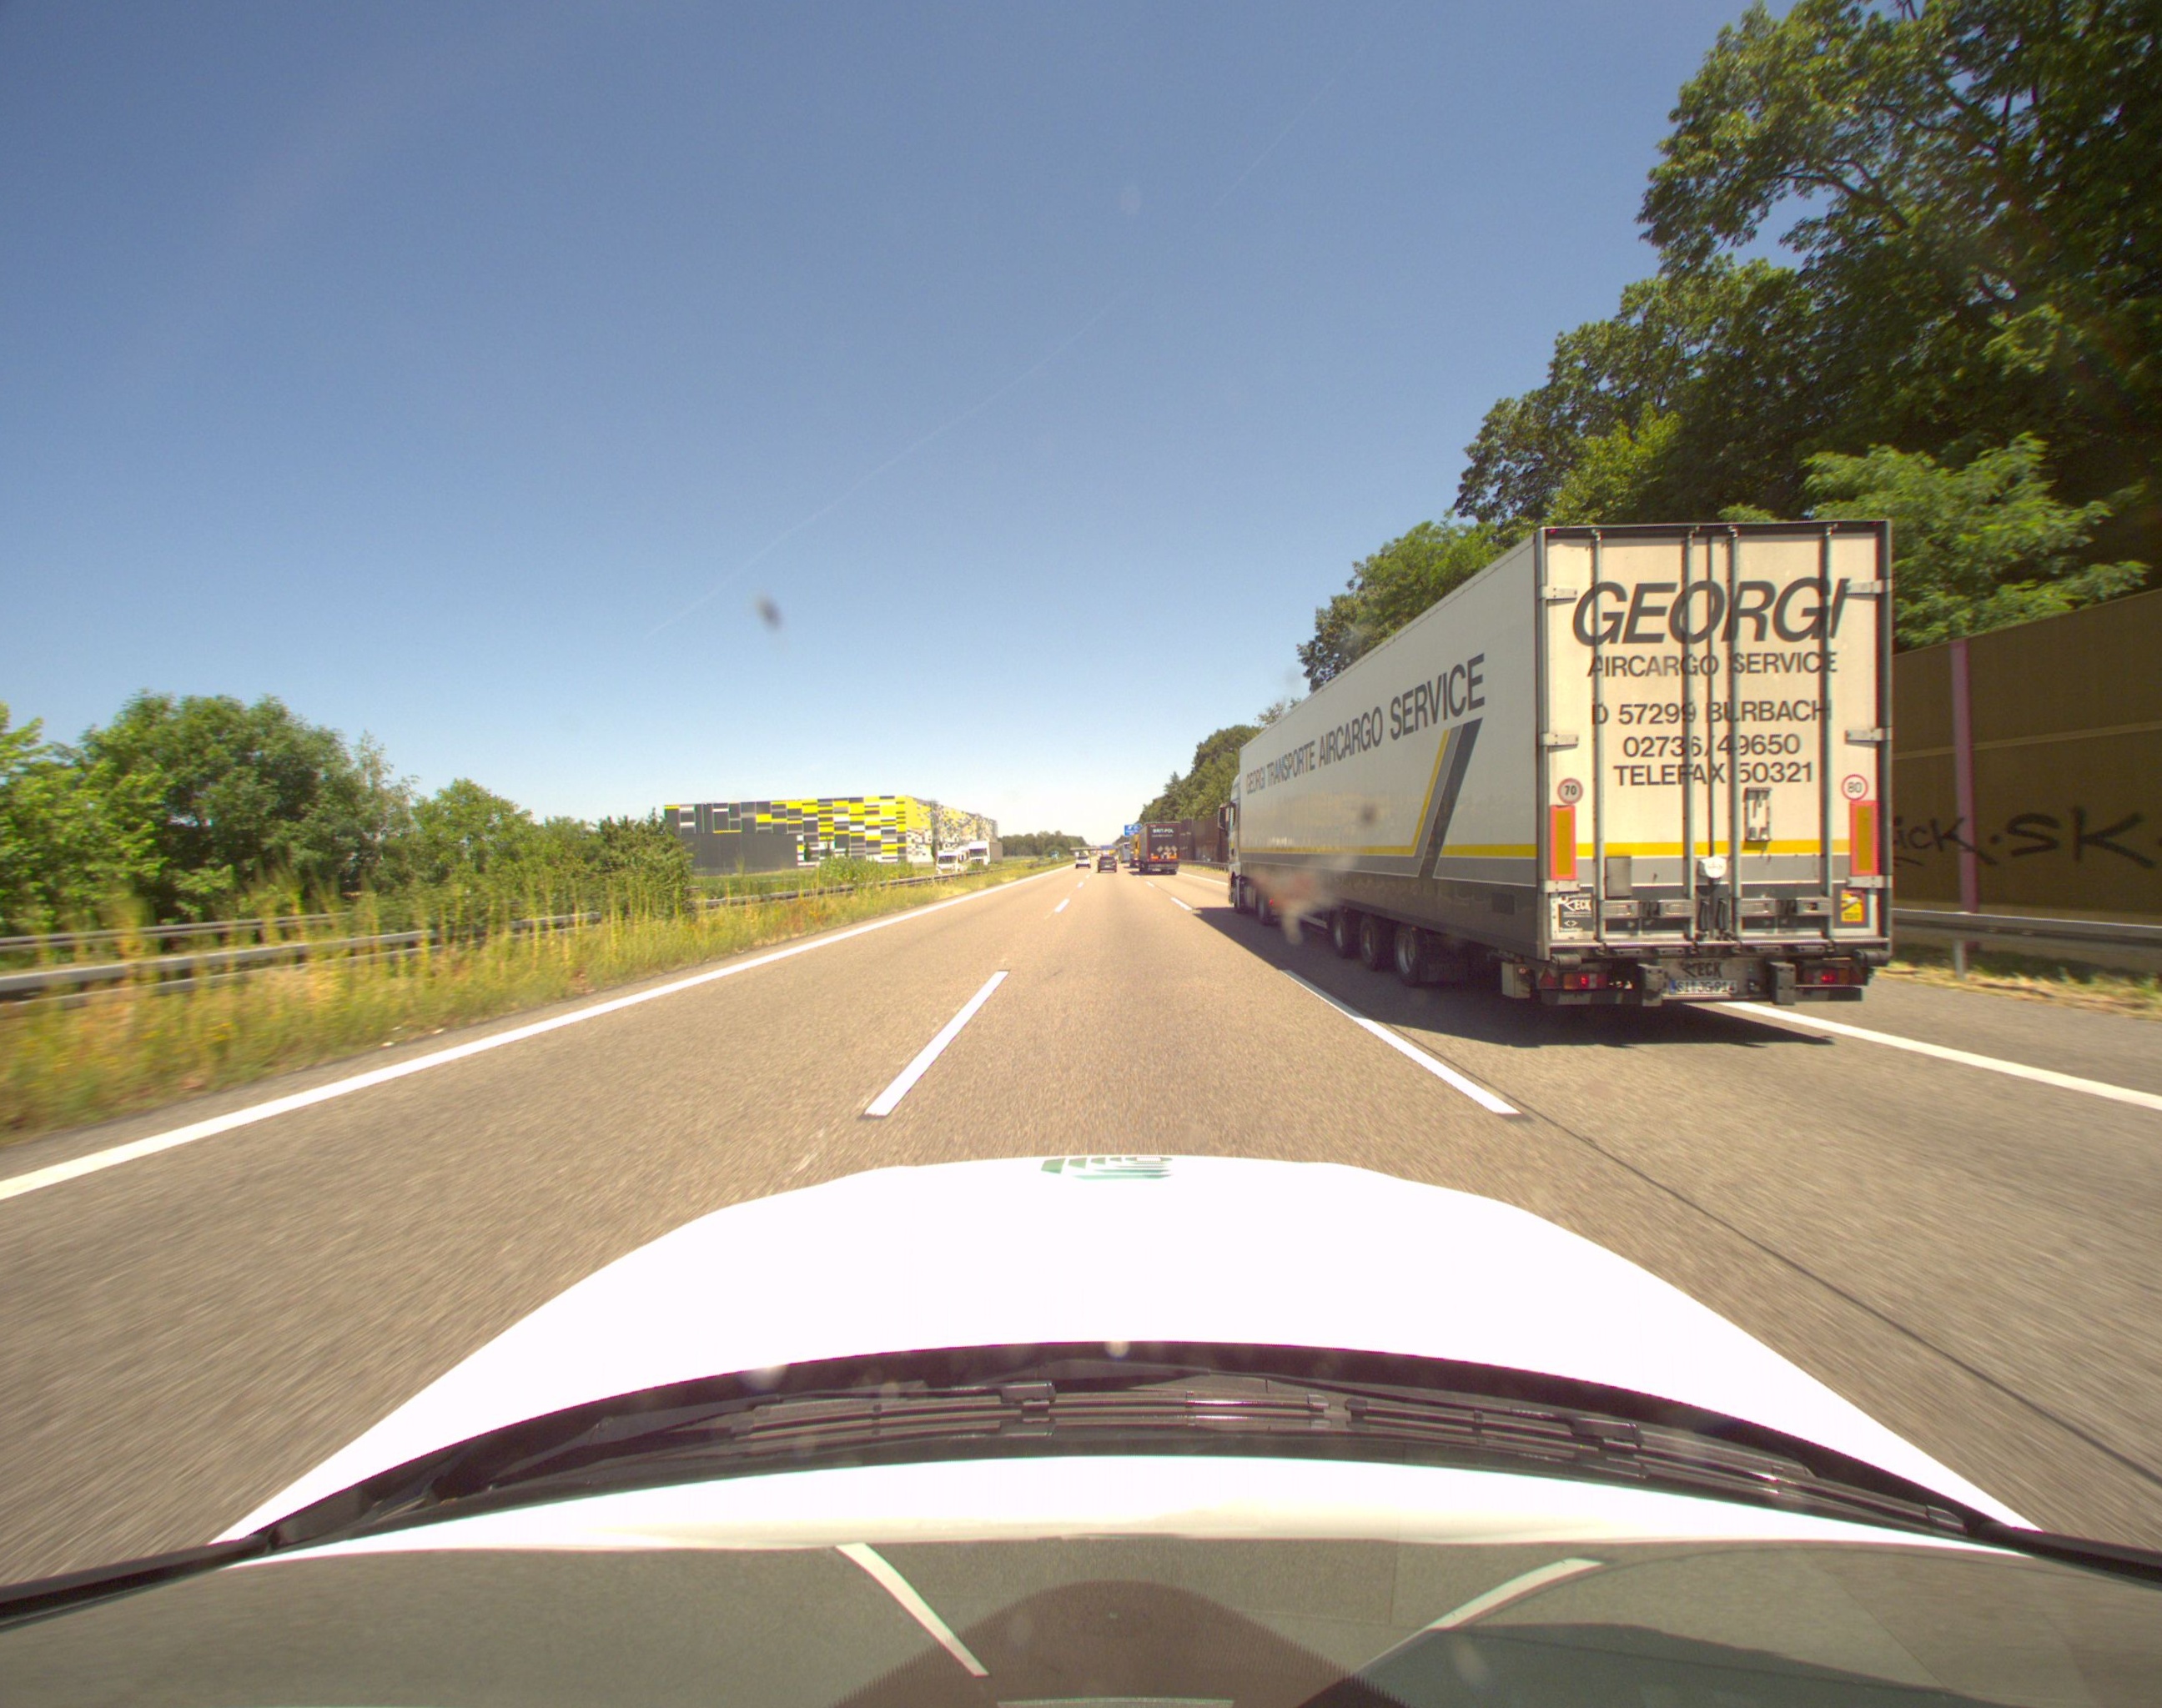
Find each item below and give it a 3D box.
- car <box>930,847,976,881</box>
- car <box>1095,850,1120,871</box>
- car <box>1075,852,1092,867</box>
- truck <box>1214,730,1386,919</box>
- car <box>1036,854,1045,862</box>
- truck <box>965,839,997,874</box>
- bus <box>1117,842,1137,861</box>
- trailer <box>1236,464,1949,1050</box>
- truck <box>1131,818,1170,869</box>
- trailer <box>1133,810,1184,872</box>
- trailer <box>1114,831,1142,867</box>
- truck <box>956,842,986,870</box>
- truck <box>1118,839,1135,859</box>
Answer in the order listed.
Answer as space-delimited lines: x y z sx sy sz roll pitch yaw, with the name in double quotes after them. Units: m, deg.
-12.077 0.901 77.417 2.536 2.982 8.091 -2 0 3 "car"
2.432 0.602 75.451 2.208 1.790 5.395 -2 0 1 "car"
0.363 0.692 99.597 1.987 1.728 4.131 -1 0 1 "car"
5.275 -0.647 20.634 2.992 4.125 5.254 -1 0 1 "truck"
-10.616 1.022 213.184 1.986 1.680 5.554 -3 -2 2 "car"
-13.481 0.333 110.333 3.149 4.426 6.983 -3 0 1 "truck"
8.347 -0.452 147.415 3.052 3.326 8.273 -3 0 0 "bus"
5.044 -0.716 12.720 2.982 4.289 13.422 -1 0 2 "trailer"
6.321 -0.919 75.055 3.077 4.441 6.053 -1 0 1 "truck"
6.233 -0.945 68.134 3.095 4.506 14.898 -1 0 1 "trailer"
5.588 -0.606 98.200 2.824 3.953 11.687 -1 0 1 "trailer"
-16.953 0.260 126.385 2.639 3.884 10.831 -5 0 2 "truck"
10.358 -1.097 185.919 3.409 4.126 9.570 -3 0 2 "truck"
